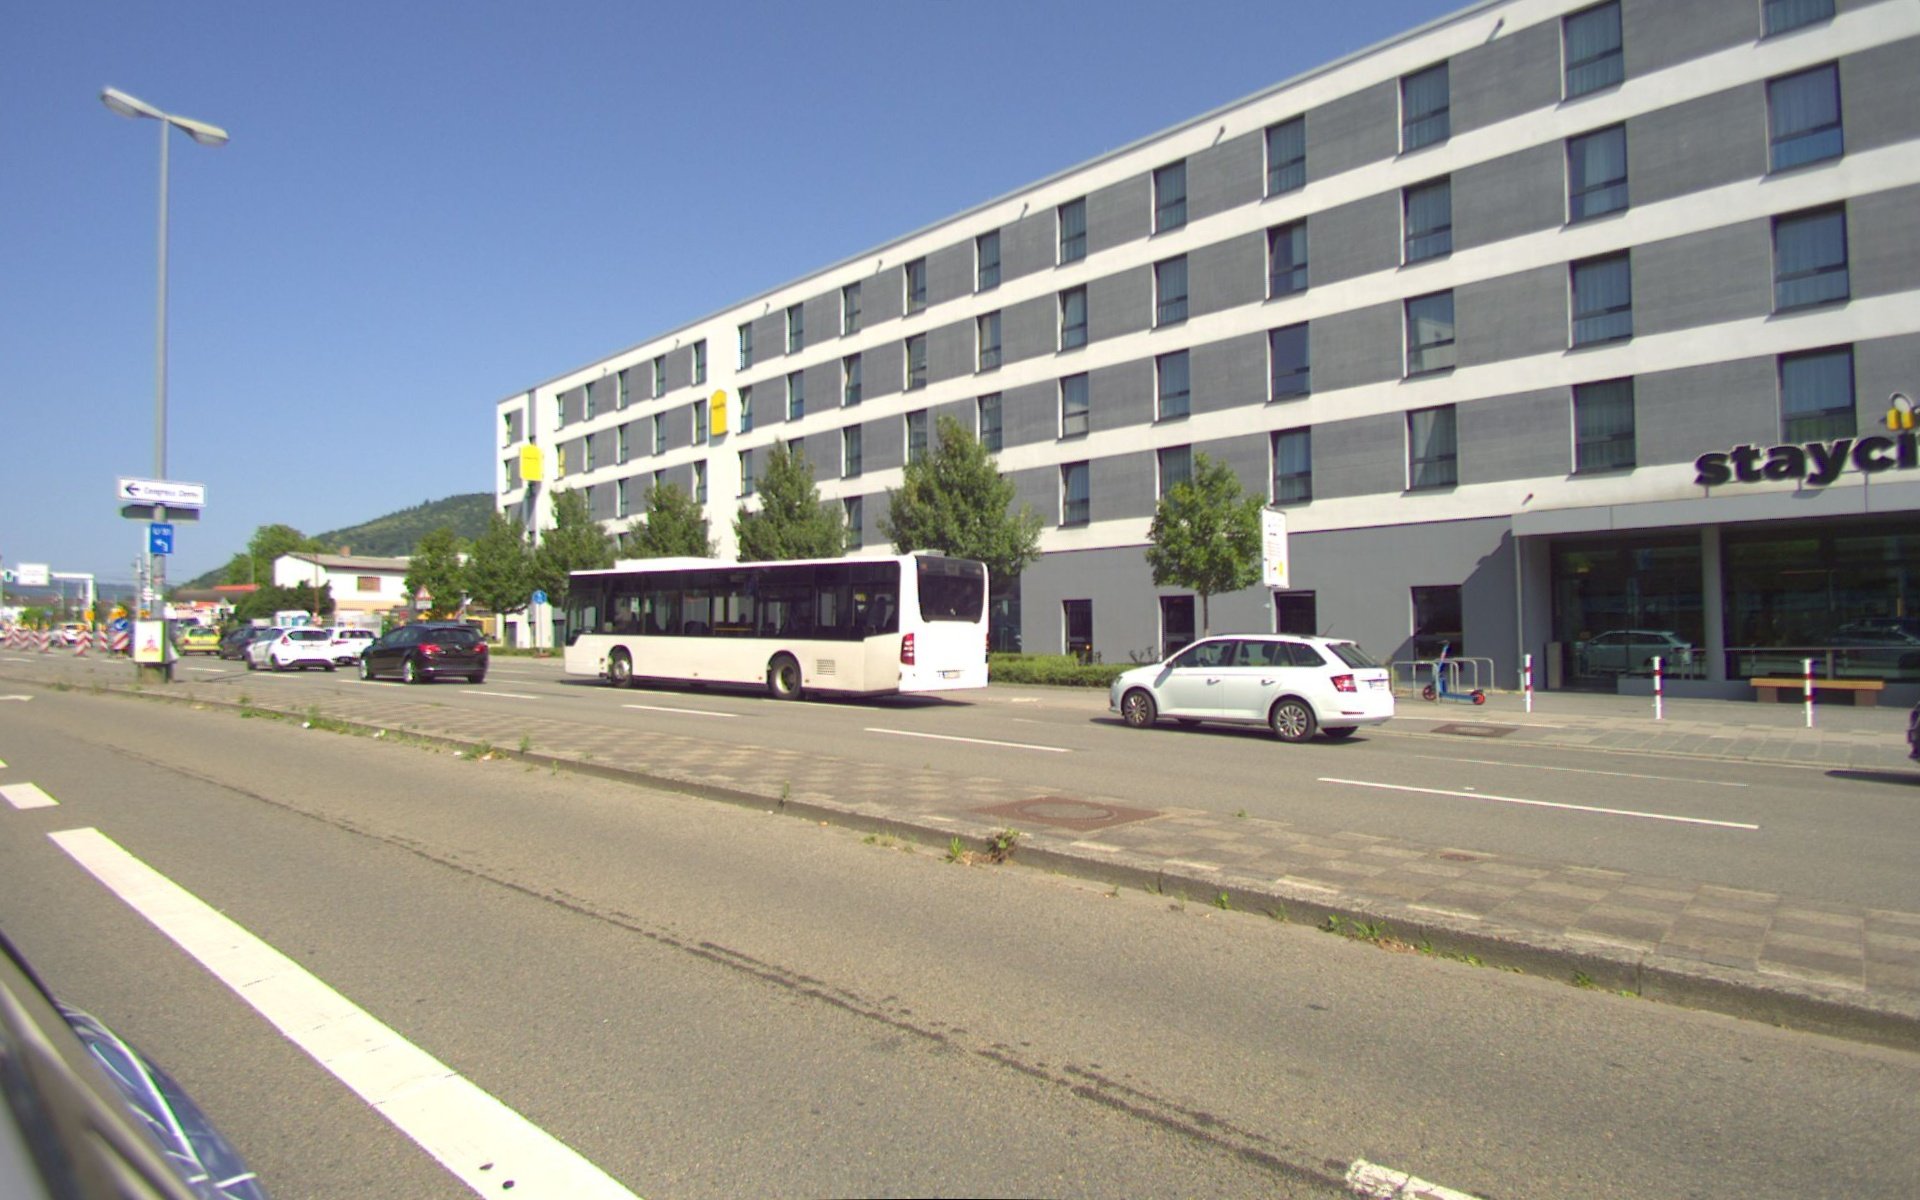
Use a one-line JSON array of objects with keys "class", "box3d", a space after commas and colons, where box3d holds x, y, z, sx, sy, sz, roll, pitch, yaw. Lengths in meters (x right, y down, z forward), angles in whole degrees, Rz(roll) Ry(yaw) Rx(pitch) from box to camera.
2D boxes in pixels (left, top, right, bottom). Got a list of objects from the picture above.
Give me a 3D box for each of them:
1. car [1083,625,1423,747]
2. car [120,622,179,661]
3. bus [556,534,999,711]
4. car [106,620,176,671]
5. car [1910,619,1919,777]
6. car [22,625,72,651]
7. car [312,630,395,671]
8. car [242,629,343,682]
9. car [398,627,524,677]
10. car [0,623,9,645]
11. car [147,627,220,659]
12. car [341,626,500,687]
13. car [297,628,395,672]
[{"class": "car", "box3d": [4.224, 1.180, 14.834, 4.403, 1.497, 1.976, 0, -4, 36]}, {"class": "car", "box3d": [-46.472, 2.339, 58.015, 3.998, 2.029, 1.973, 0, 0, 41]}, {"class": "bus", "box3d": [-4.676, 0.556, 22.645, 11.966, 3.102, 2.710, -1, -4, 40]}, {"class": "car", "box3d": [-35.456, 1.930, 43.779, 4.162, 2.029, 1.658, 0, 0, 41]}, {"class": "car", "box3d": [11.609, 0.997, 9.063, 4.411, 1.590, 1.972, -1, -5, 42]}, {"class": "car", "box3d": [-62.883, 2.579, 69.658, 4.888, 1.725, 1.973, -2, -2, 41]}, {"class": "car", "box3d": [-25.462, 2.091, 42.443, 3.583, 1.631, 1.699, -1, -1, 35]}, {"class": "car", "box3d": [-21.336, 1.725, 32.291, 3.999, 1.462, 1.740, 0, 0, 42]}, {"class": "car", "box3d": [-16.428, 1.645, 33.215, 4.888, 1.534, 1.973, -1, -2, 41]}, {"class": "car", "box3d": [-86.729, 3.027, 90.460, 3.996, 2.029, 1.973, -1, -3, 40]}, {"class": "car", "box3d": [-39.223, 2.108, 51.056, 4.888, 1.534, 1.973, -1, -2, 41]}, {"class": "car", "box3d": [-13.957, 1.382, 26.054, 4.887, 1.443, 1.973, -1, -2, 40]}, {"class": "car", "box3d": [-22.951, 1.839, 37.778, 3.972, 1.550, 1.836, -1, -2, 38]}]
